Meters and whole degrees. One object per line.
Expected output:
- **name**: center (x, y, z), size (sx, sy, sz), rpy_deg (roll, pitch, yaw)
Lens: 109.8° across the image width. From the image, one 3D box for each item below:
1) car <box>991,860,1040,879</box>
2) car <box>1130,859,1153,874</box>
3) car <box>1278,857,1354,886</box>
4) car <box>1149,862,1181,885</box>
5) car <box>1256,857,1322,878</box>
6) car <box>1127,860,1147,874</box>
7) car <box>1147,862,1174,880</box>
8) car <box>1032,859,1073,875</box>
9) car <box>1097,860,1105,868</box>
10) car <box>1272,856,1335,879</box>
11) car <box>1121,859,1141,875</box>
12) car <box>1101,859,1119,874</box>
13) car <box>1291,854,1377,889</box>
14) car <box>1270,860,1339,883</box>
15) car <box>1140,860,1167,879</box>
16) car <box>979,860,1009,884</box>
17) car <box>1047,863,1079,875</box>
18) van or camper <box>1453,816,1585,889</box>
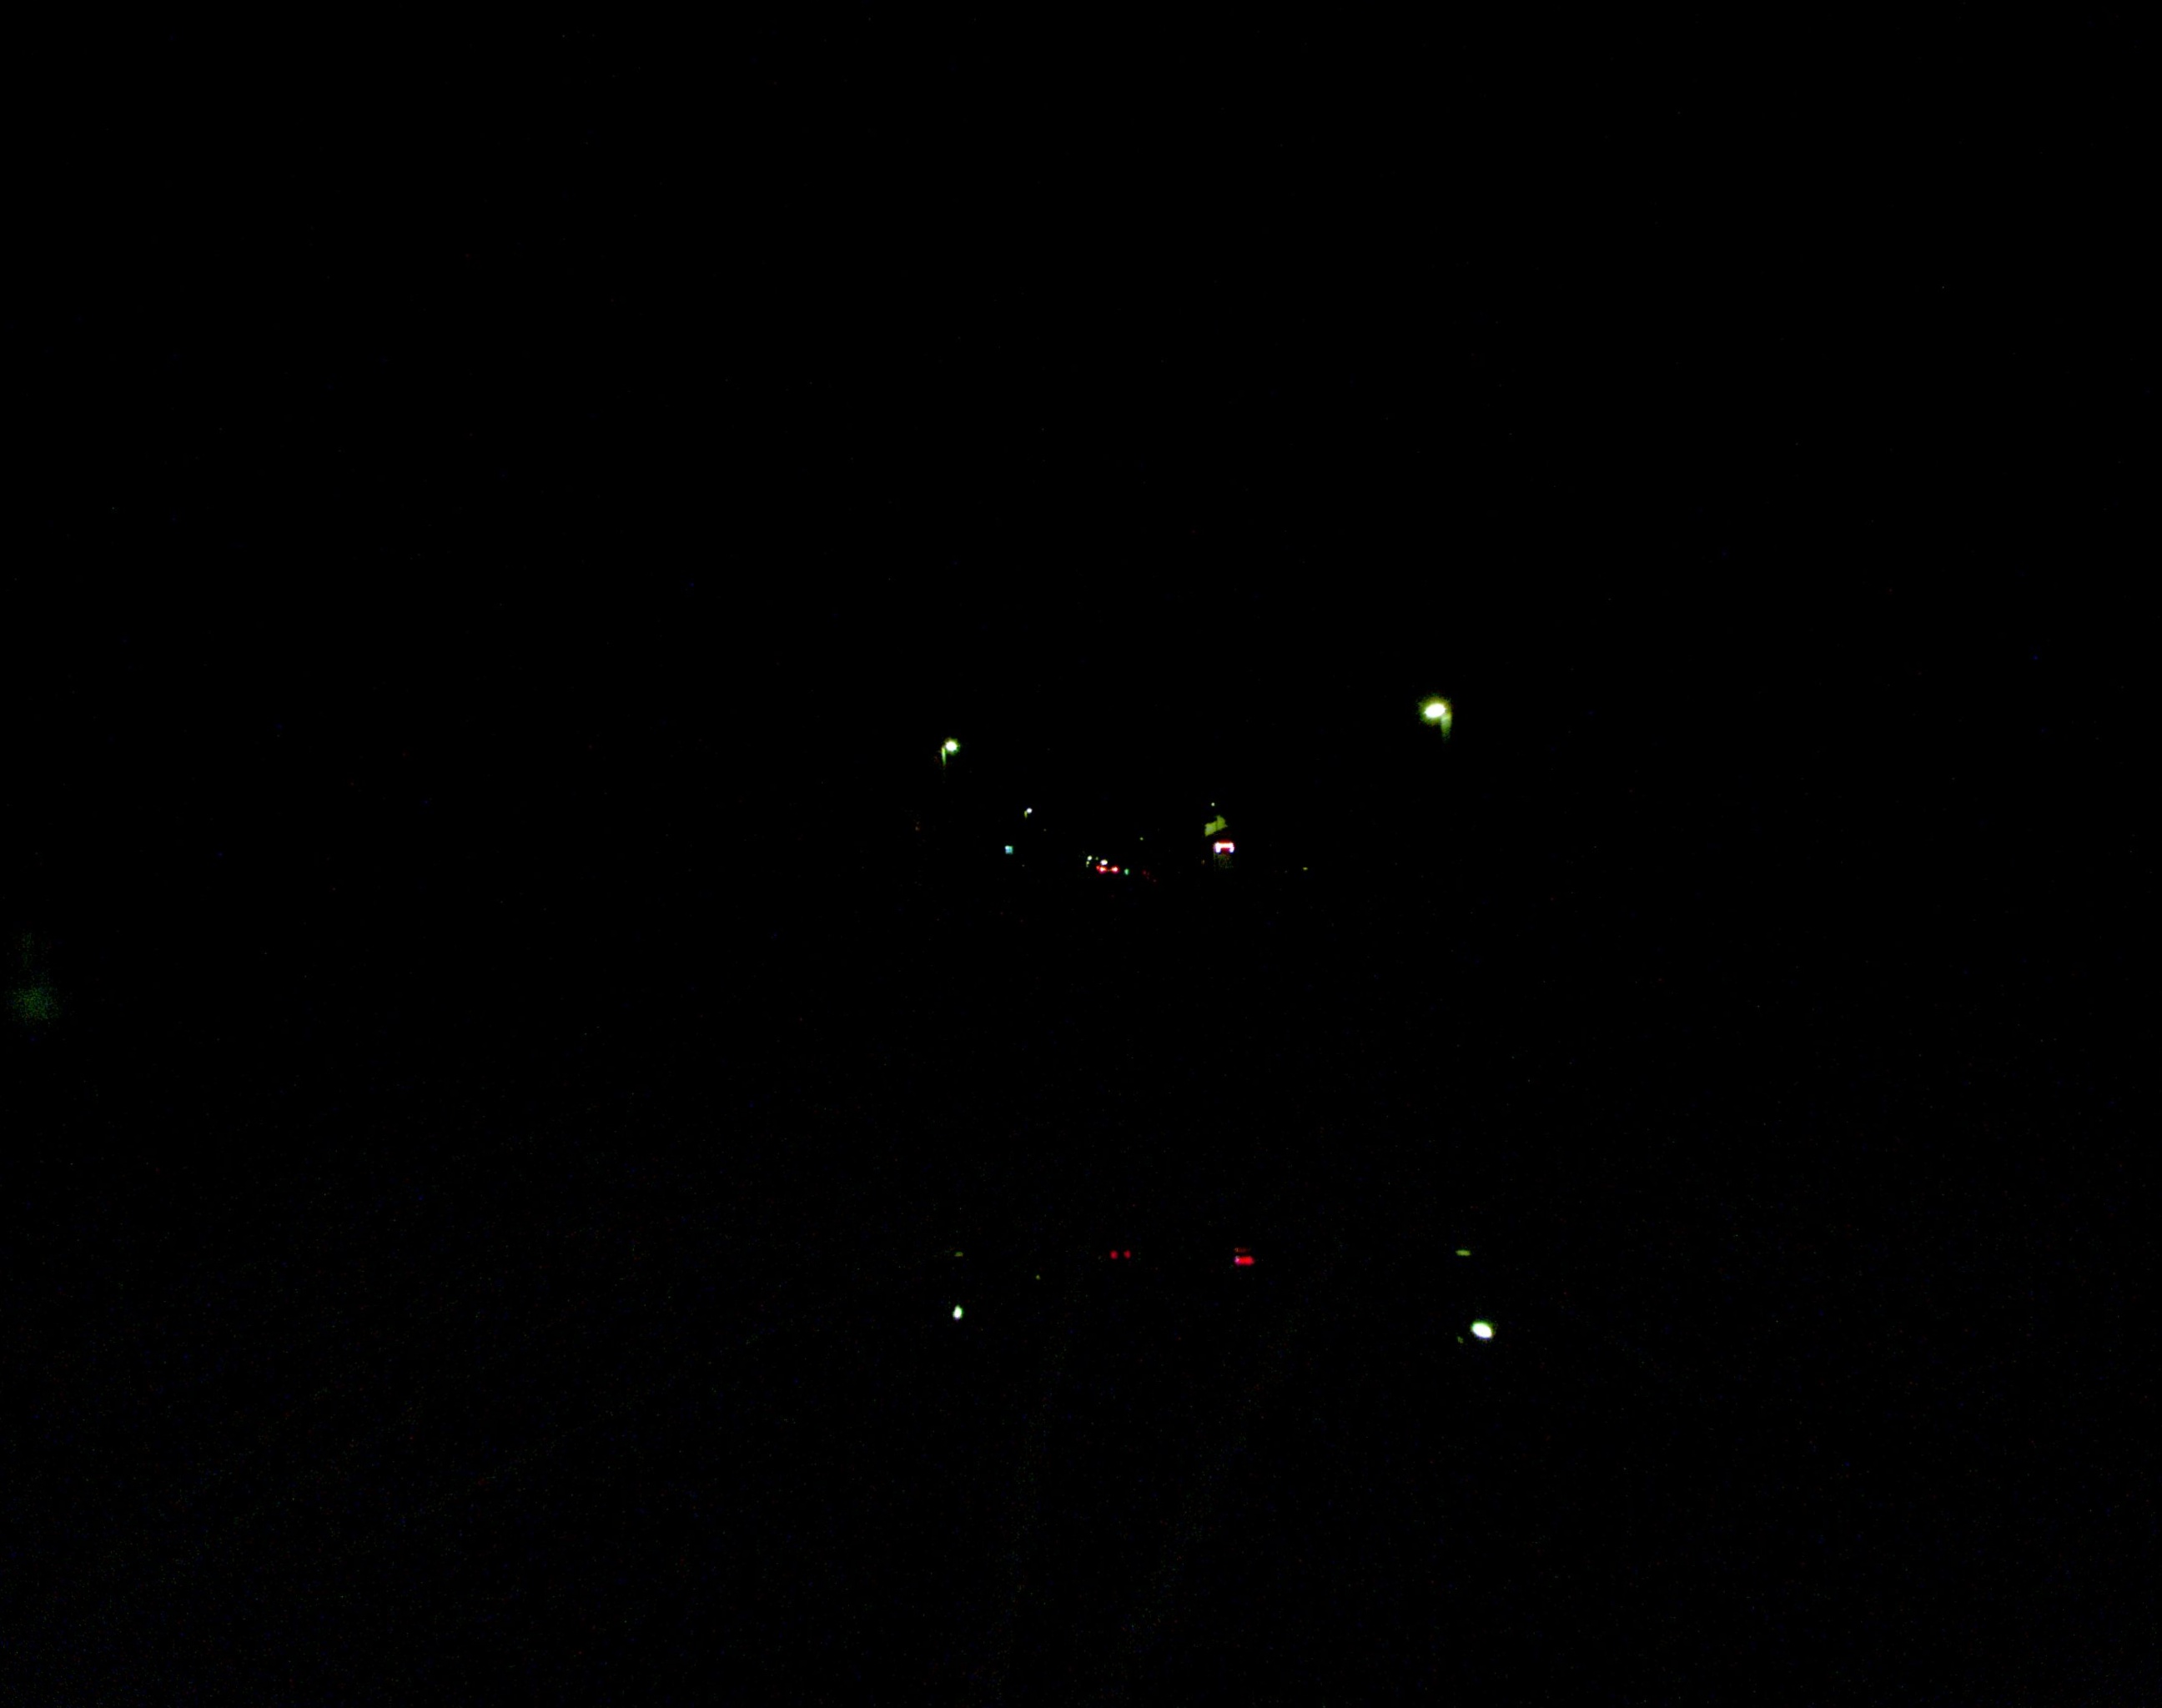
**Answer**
- **car**: center (-5.581, 1.312, 65.179), size (3.914, 1.477, 1.833), rpy_deg (2, 0, 1)
- **car**: center (7.049, 1.433, 88.818), size (2.121, 1.539, 4.476), rpy_deg (-4, 1, -1)
- **car**: center (14.621, 1.091, 47.427), size (4.125, 1.652, 2.000), rpy_deg (2, 0, 2)
- **car**: center (5.684, 1.300, 51.933), size (1.754, 1.460, 4.009), rpy_deg (-1, -1, 0)
- **car**: center (15.389, 0.968, 56.324), size (4.325, 1.552, 2.028), rpy_deg (0, 0, -6)
- **car**: center (6.914, 1.548, 93.905), size (2.121, 1.660, 4.169), rpy_deg (-1, -1, -1)
- **car**: center (6.491, 1.391, 62.390), size (1.775, 1.460, 3.967), rpy_deg (0, -1, 0)
- **car**: center (-3.213, 1.465, 87.032), size (4.363, 1.805, 2.032), rpy_deg (1, 0, 7)
- **car**: center (4.689, 2.339, 179.249), size (1.724, 1.705, 3.961), rpy_deg (-1, 0, -2)
- **car**: center (15.673, 0.950, 53.666), size (3.995, 1.608, 2.001), rpy_deg (0, 0, 4)
- **car**: center (6.574, 1.697, 100.549), size (2.121, 1.935, 4.888), rpy_deg (-2, -1, -1)
- **car**: center (3.324, 1.388, 86.097), size (2.008, 1.737, 4.559), rpy_deg (0, 0, 2)
- **car**: center (13.751, 0.934, 41.423), size (3.999, 1.692, 1.947), rpy_deg (2, 0, -6)
- **car**: center (14.764, 1.145, 50.416), size (3.996, 1.455, 2.000), rpy_deg (-1, 0, 2)
- **car**: center (6.445, 1.379, 67.715), size (1.933, 1.627, 4.471), rpy_deg (-1, -1, 0)
- **car**: center (-5.869, 1.166, 51.575), size (1.643, 1.550, 3.679), rpy_deg (1, 0, 0)
- **car**: center (-2.294, 1.945, 98.338), size (3.924, 1.542, 1.988), rpy_deg (1, 0, 5)
- **van or camper**: center (18.031, -0.054, 31.711), size (2.080, 2.731, 5.930), rpy_deg (-1, 0, 0)
